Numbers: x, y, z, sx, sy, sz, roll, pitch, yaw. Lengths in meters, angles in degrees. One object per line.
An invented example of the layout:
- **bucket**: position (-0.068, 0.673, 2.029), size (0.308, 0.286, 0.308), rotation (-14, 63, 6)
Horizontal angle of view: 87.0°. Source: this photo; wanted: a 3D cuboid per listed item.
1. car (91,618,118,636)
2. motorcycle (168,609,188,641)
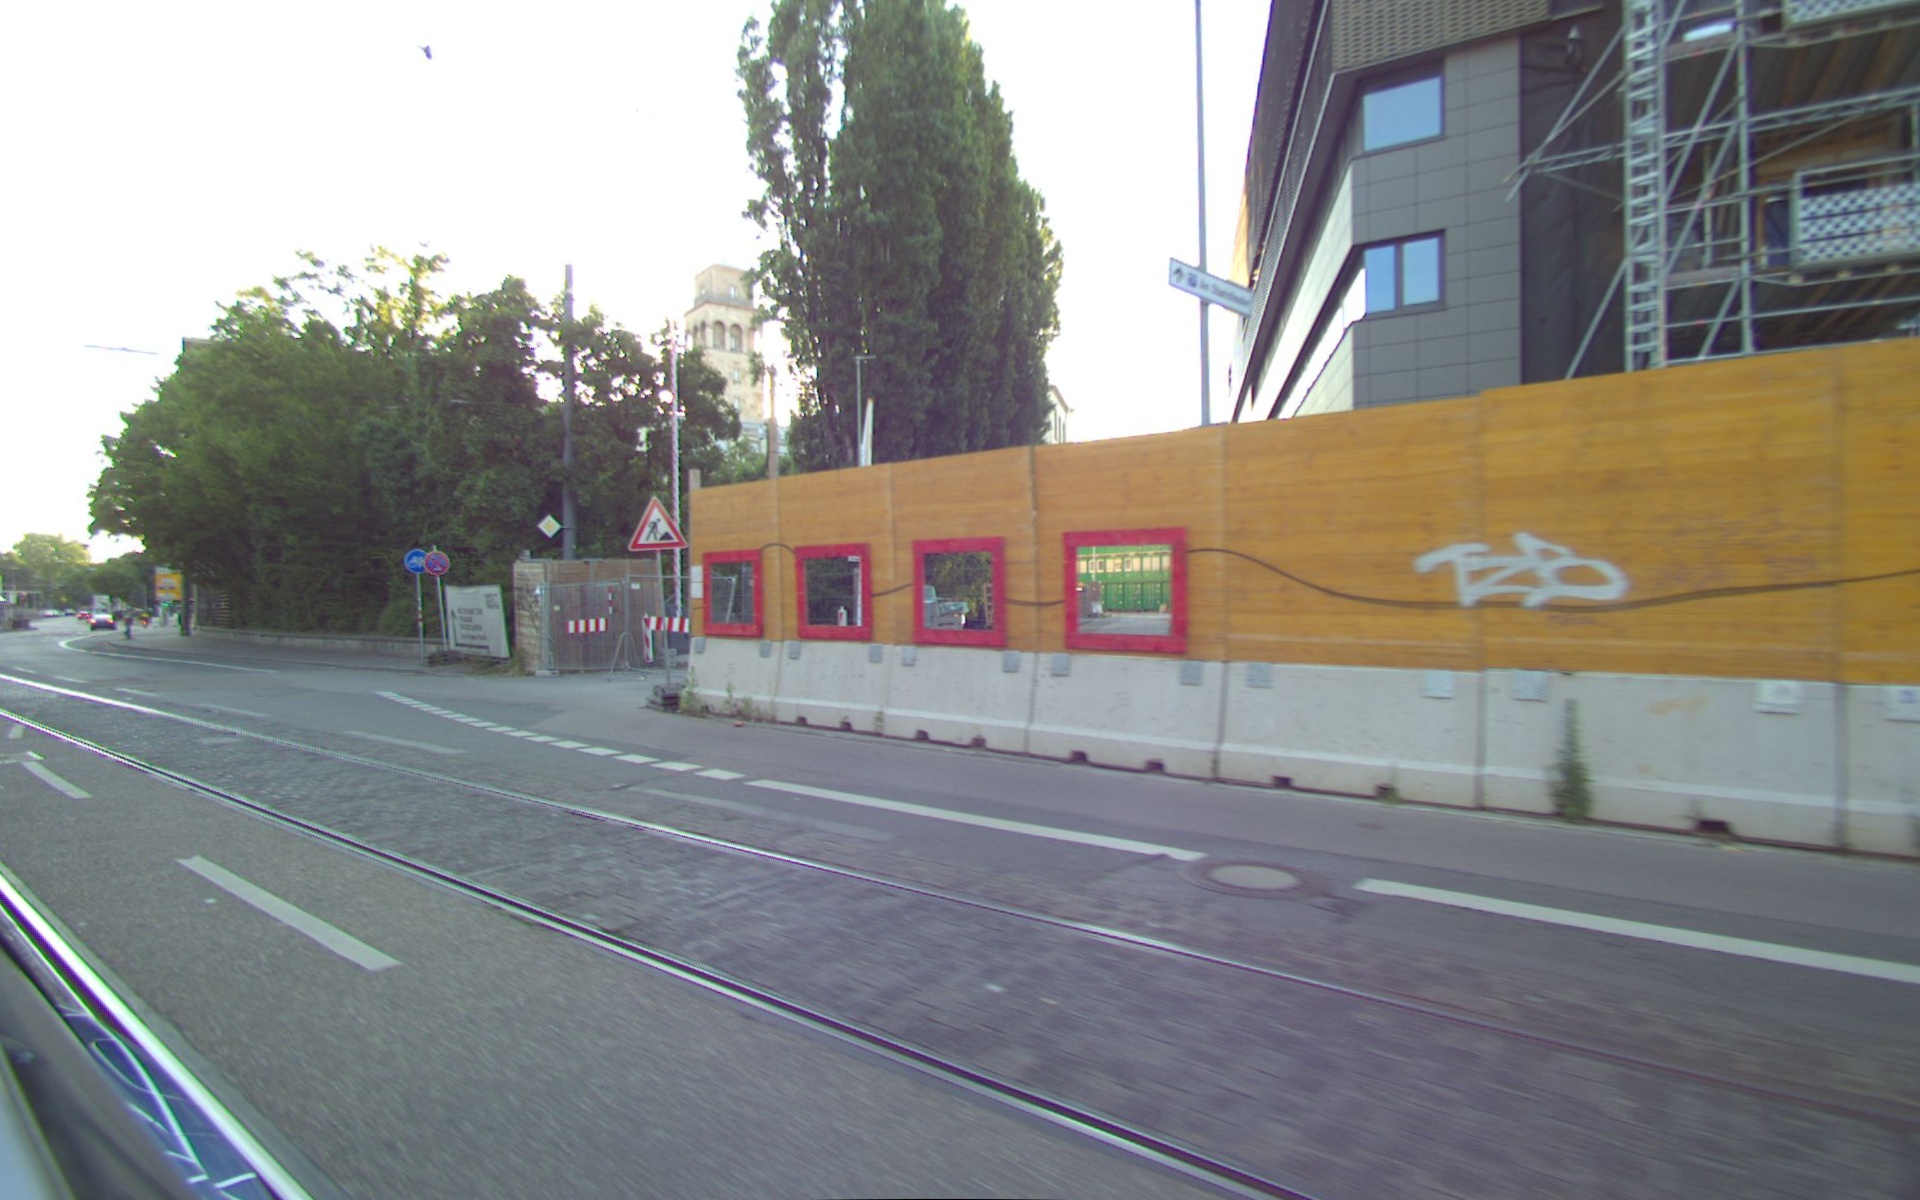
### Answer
- **car**: position (-82.381, 2.621, 97.421), size (1.969, 1.697, 4.006), rotation (0, -1, -41)
- **motorcycle**: position (-60.341, 1.924, 78.104), size (1.008, 2.461, 2.671), rotation (0, -1, -42)
